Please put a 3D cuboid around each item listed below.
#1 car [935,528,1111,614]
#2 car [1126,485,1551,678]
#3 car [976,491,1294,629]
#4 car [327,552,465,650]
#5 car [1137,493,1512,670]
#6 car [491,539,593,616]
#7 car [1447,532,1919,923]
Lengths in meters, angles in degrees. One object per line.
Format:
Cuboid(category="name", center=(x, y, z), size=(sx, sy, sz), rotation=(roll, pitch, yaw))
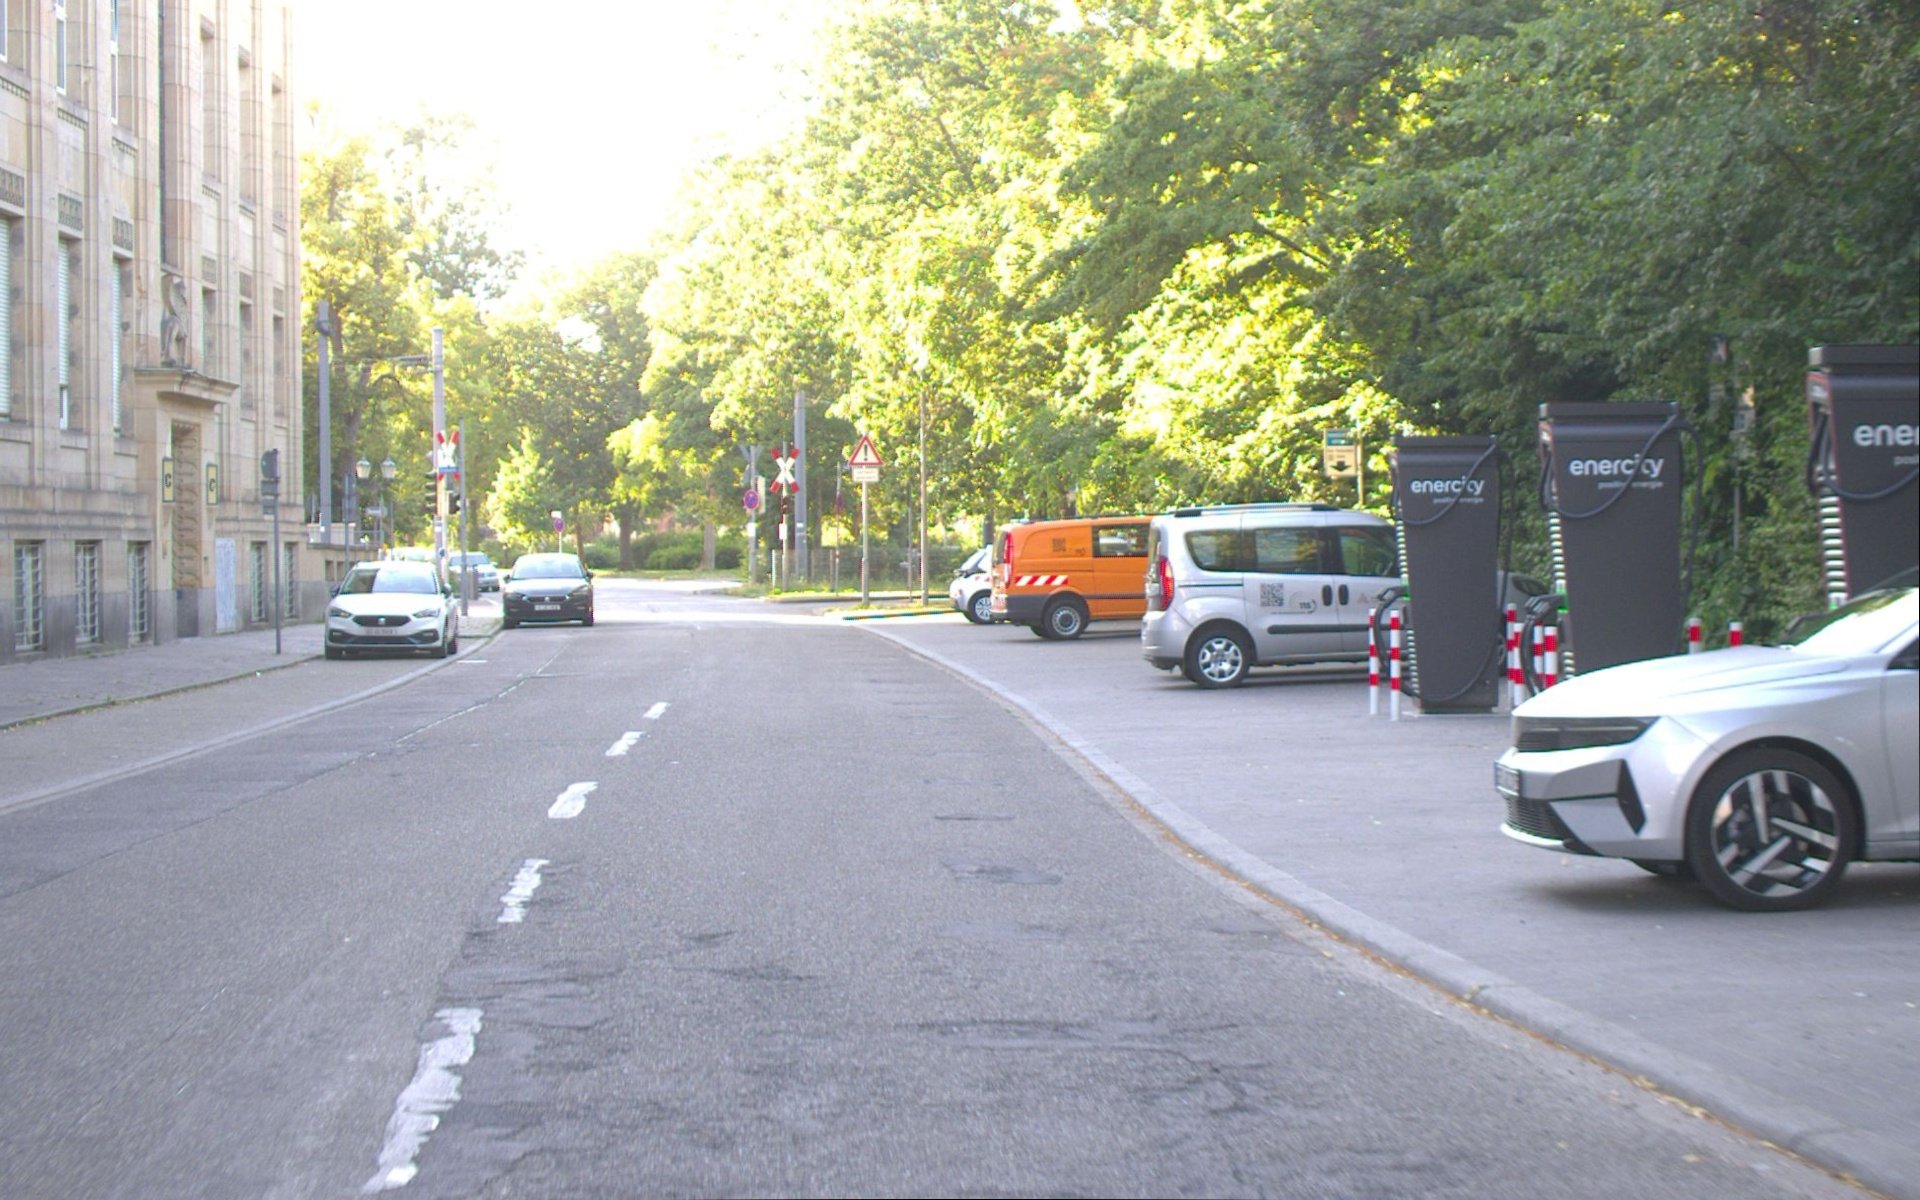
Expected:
Cuboid(category="car", center=(1.200, -0.567, 66.276), size=(3.143, 1.498, 1.541), rotation=(-2, 1, -8))
Cuboid(category="car", center=(3.963, -0.205, 36.537), size=(4.228, 1.853, 2.000), rotation=(-2, 1, -1))
Cuboid(category="car", center=(2.811, -0.654, 55.806), size=(4.817, 2.007, 1.802), rotation=(-2, 1, -8))
Cuboid(category="car", center=(-8.531, -0.013, 52.290), size=(1.727, 1.392, 4.374), rotation=(0, 1, -5))
Cuboid(category="car", center=(4.101, -0.222, 39.116), size=(4.023, 1.829, 1.614), rotation=(-2, 1, -1))
Cuboid(category="car", center=(-8.397, -0.474, 69.361), size=(1.878, 1.461, 4.374), rotation=(0, 1, -5))
Cuboid(category="car", center=(4.420, 0.446, 14.368), size=(4.440, 1.464, 1.783), rotation=(-2, 1, -2))
